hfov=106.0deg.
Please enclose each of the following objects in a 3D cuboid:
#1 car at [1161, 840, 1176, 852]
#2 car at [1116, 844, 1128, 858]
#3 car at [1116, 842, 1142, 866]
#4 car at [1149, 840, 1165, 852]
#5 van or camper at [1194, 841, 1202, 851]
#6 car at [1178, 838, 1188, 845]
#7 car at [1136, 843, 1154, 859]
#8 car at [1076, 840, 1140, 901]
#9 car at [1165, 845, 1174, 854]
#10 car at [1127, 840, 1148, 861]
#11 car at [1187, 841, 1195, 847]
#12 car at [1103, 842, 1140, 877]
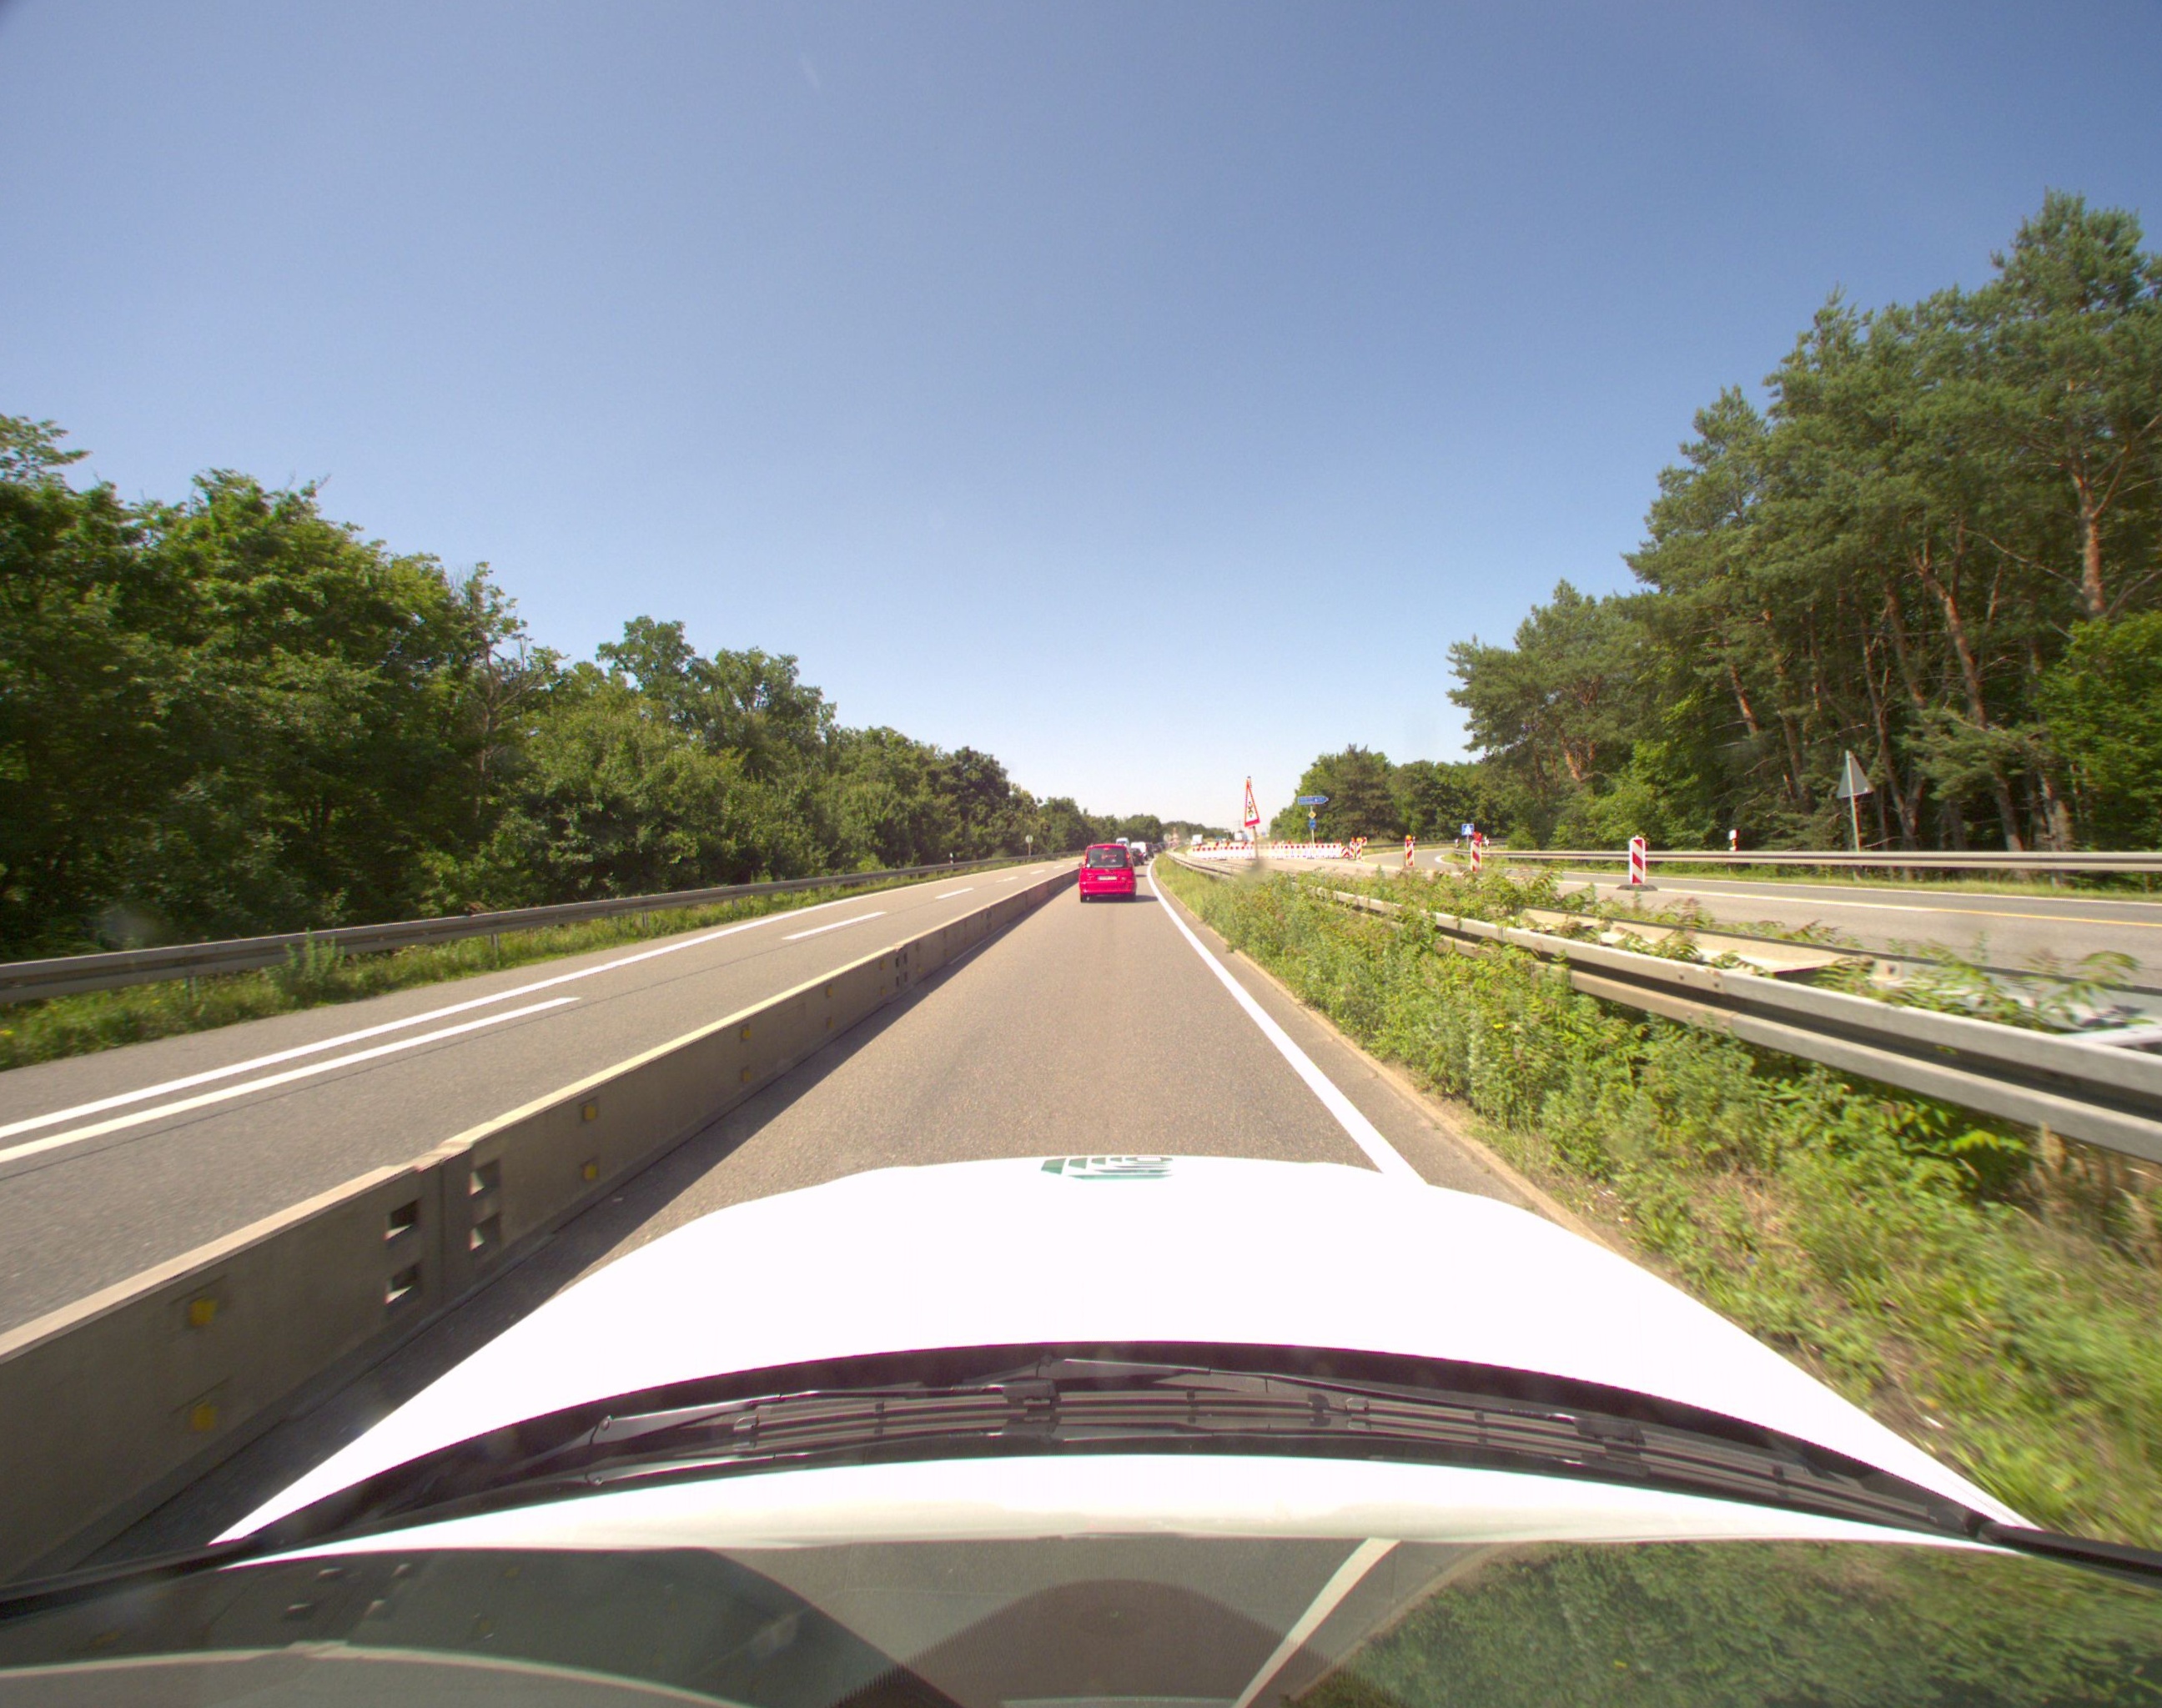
[{"bbox_3d":[13.330,-1.214,123.892,1.986,1.783,4.002,-1,0,2],"label":"car"},{"bbox_3d":[7.474,-0.497,149.146,2.053,2.485,5.565,-1,0,3],"label":"car"},{"bbox_3d":[3.961,-0.034,66.700,1.985,1.838,4.004,-2,0,4],"label":"car"},{"bbox_3d":[11.489,-1.194,123.122,1.982,1.783,4.011,-1,0,9],"label":"car"},{"bbox_3d":[34.520,-2.418,239.889,2.315,2.706,4.603,-2,0,7],"label":"van or camper"},{"bbox_3d":[24.595,-3.092,196.015,1.981,1.552,4.011,-3,0,9],"label":"car"},{"bbox_3d":[7.478,-0.328,95.511,1.985,1.750,4.004,-2,0,3],"label":"car"},{"bbox_3d":[0.820,0.453,24.812,1.745,1.673,4.002,-1,0,2],"label":"car"},{"bbox_3d":[17.298,-0.859,159.775,1.492,1.736,3.179,-2,0,10],"label":"car"},{"bbox_3d":[5.704,-0.365,83.086,1.986,2.003,4.002,-2,0,2],"label":"car"},{"bbox_3d":[30.979,-2.778,229.141,1.982,1.486,4.010,-2,0,8],"label":"car"},{"bbox_3d":[2.152,0.256,43.482,1.823,1.722,4.002,-2,0,2],"label":"car"}]
